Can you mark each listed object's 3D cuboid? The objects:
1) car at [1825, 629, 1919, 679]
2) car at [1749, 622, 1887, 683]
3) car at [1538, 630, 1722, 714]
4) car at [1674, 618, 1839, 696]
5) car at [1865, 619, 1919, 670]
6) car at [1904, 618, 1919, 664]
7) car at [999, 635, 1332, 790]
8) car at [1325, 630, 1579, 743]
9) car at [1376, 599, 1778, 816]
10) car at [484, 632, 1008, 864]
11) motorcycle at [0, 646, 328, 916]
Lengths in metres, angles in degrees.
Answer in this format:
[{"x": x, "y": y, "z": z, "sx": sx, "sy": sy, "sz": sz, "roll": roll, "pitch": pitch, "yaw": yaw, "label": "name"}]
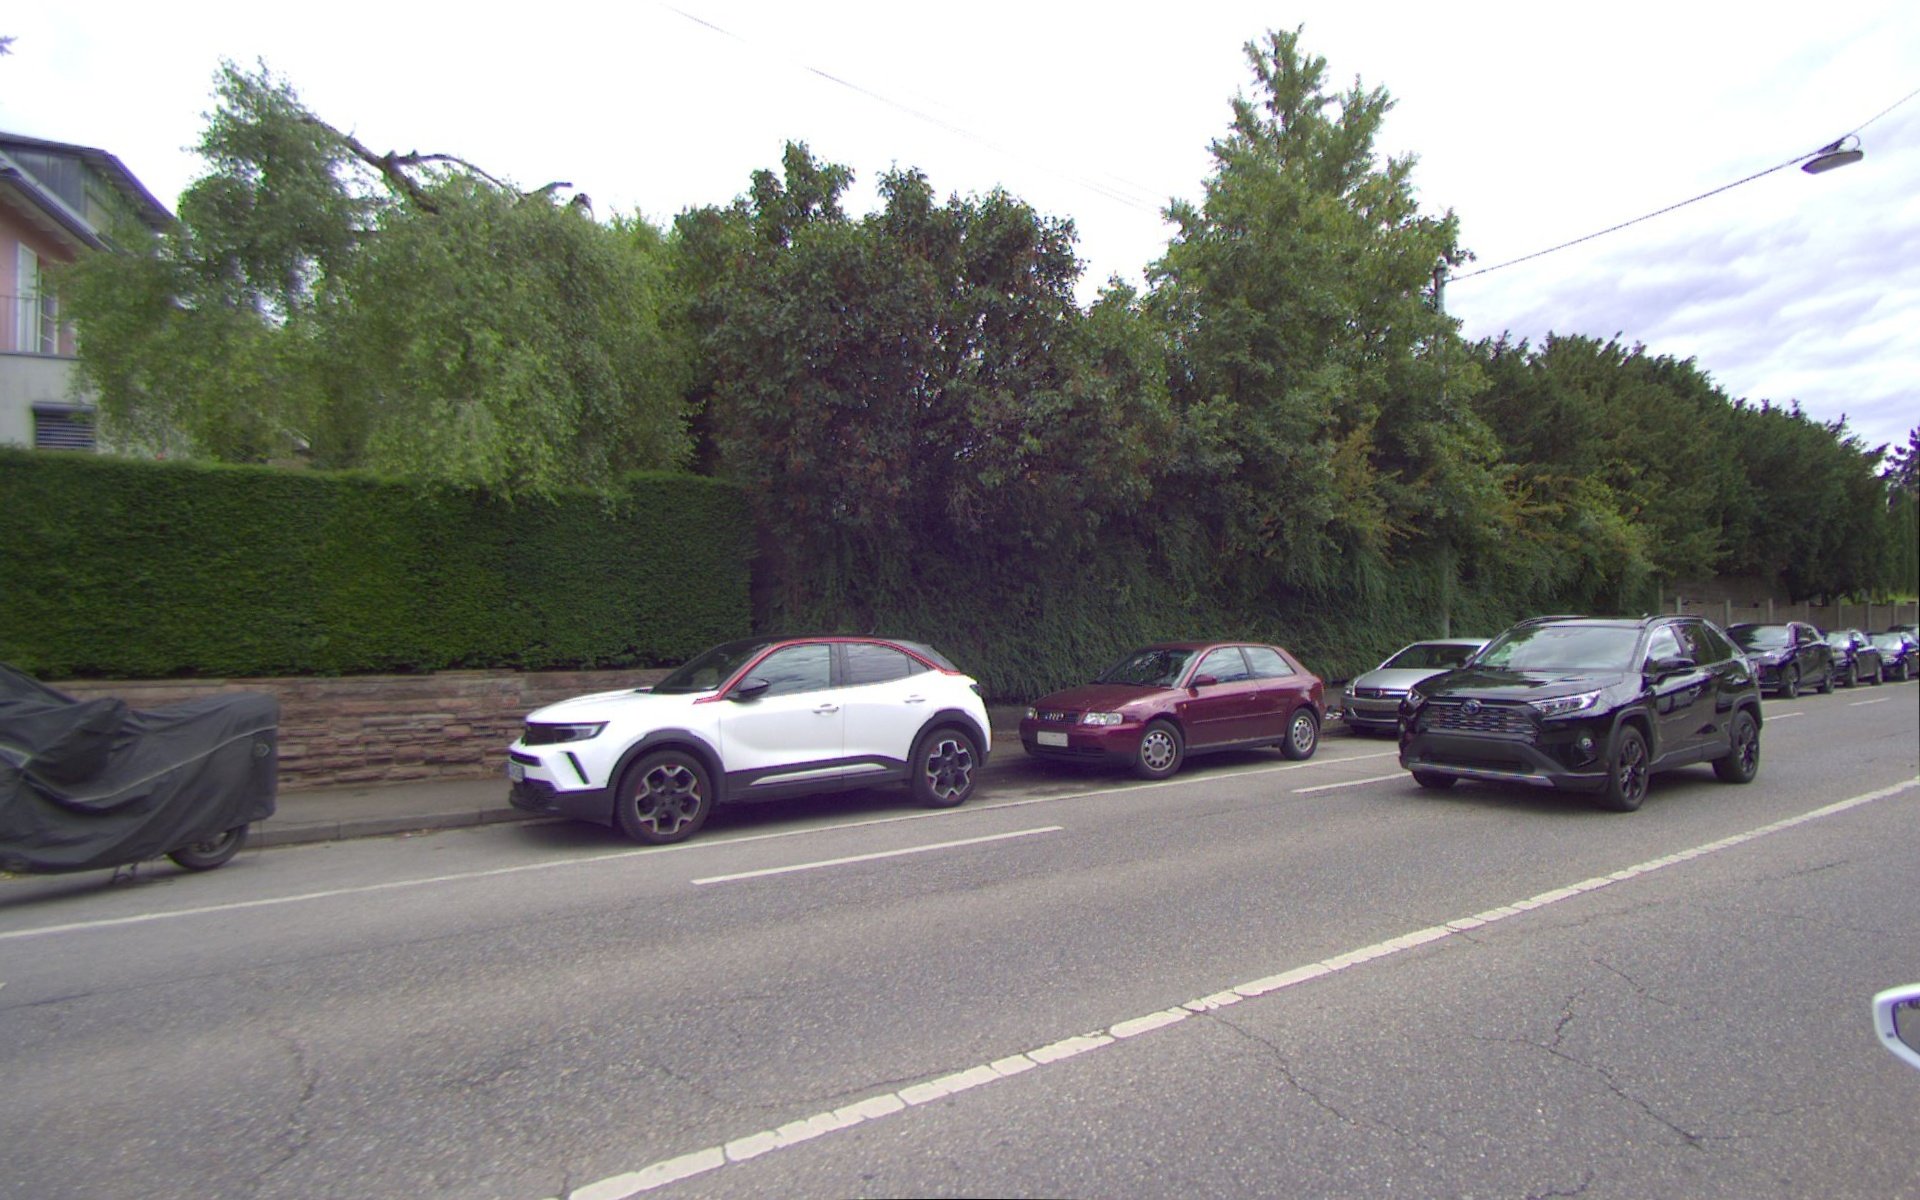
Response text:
[{"x": 27.877, "y": 1.605, "z": 30.428, "sx": 4.182, "sy": 1.419, "sz": 1.636, "roll": 1, "pitch": -2, "yaw": -37, "label": "car"}, {"x": 23.371, "y": 1.417, "z": 27.330, "sx": 4.064, "sy": 1.531, "sz": 1.934, "roll": 1, "pitch": -3, "yaw": -36, "label": "car"}, {"x": 13.056, "y": 1.335, "z": 19.514, "sx": 3.963, "sy": 1.457, "sz": 1.767, "roll": 1, "pitch": -3, "yaw": -37, "label": "car"}, {"x": 18.693, "y": 1.293, "z": 23.521, "sx": 4.425, "sy": 1.664, "sz": 1.979, "roll": 1, "pitch": -3, "yaw": -37, "label": "car"}, {"x": 31.694, "y": 1.462, "z": 33.308, "sx": 4.056, "sy": 1.613, "sz": 1.661, "roll": 1, "pitch": -3, "yaw": -36, "label": "car"}, {"x": 35.977, "y": 1.480, "z": 36.419, "sx": 4.391, "sy": 1.646, "sz": 1.874, "roll": 1, "pitch": -2, "yaw": -38, "label": "car"}, {"x": 2.478, "y": 1.182, "z": 11.722, "sx": 3.875, "sy": 1.497, "sz": 1.658, "roll": 1, "pitch": -3, "yaw": -37, "label": "car"}, {"x": 7.658, "y": 1.243, "z": 15.482, "sx": 4.388, "sy": 1.508, "sz": 1.658, "roll": 1, "pitch": -3, "yaw": -36, "label": "car"}, {"x": 6.056, "y": 0.910, "z": 9.725, "sx": 4.171, "sy": 1.668, "sz": 1.830, "roll": 2, "pitch": -3, "yaw": -35, "label": "car"}, {"x": -1.715, "y": 1.061, "z": 8.589, "sx": 3.990, "sy": 1.514, "sz": 1.876, "roll": 1, "pitch": -4, "yaw": -37, "label": "car"}, {"x": -5.192, "y": 1.011, "z": 5.934, "sx": 0.875, "sy": 1.373, "sz": 2.296, "roll": -4, "pitch": -2, "yaw": 38, "label": "motorcycle"}]
